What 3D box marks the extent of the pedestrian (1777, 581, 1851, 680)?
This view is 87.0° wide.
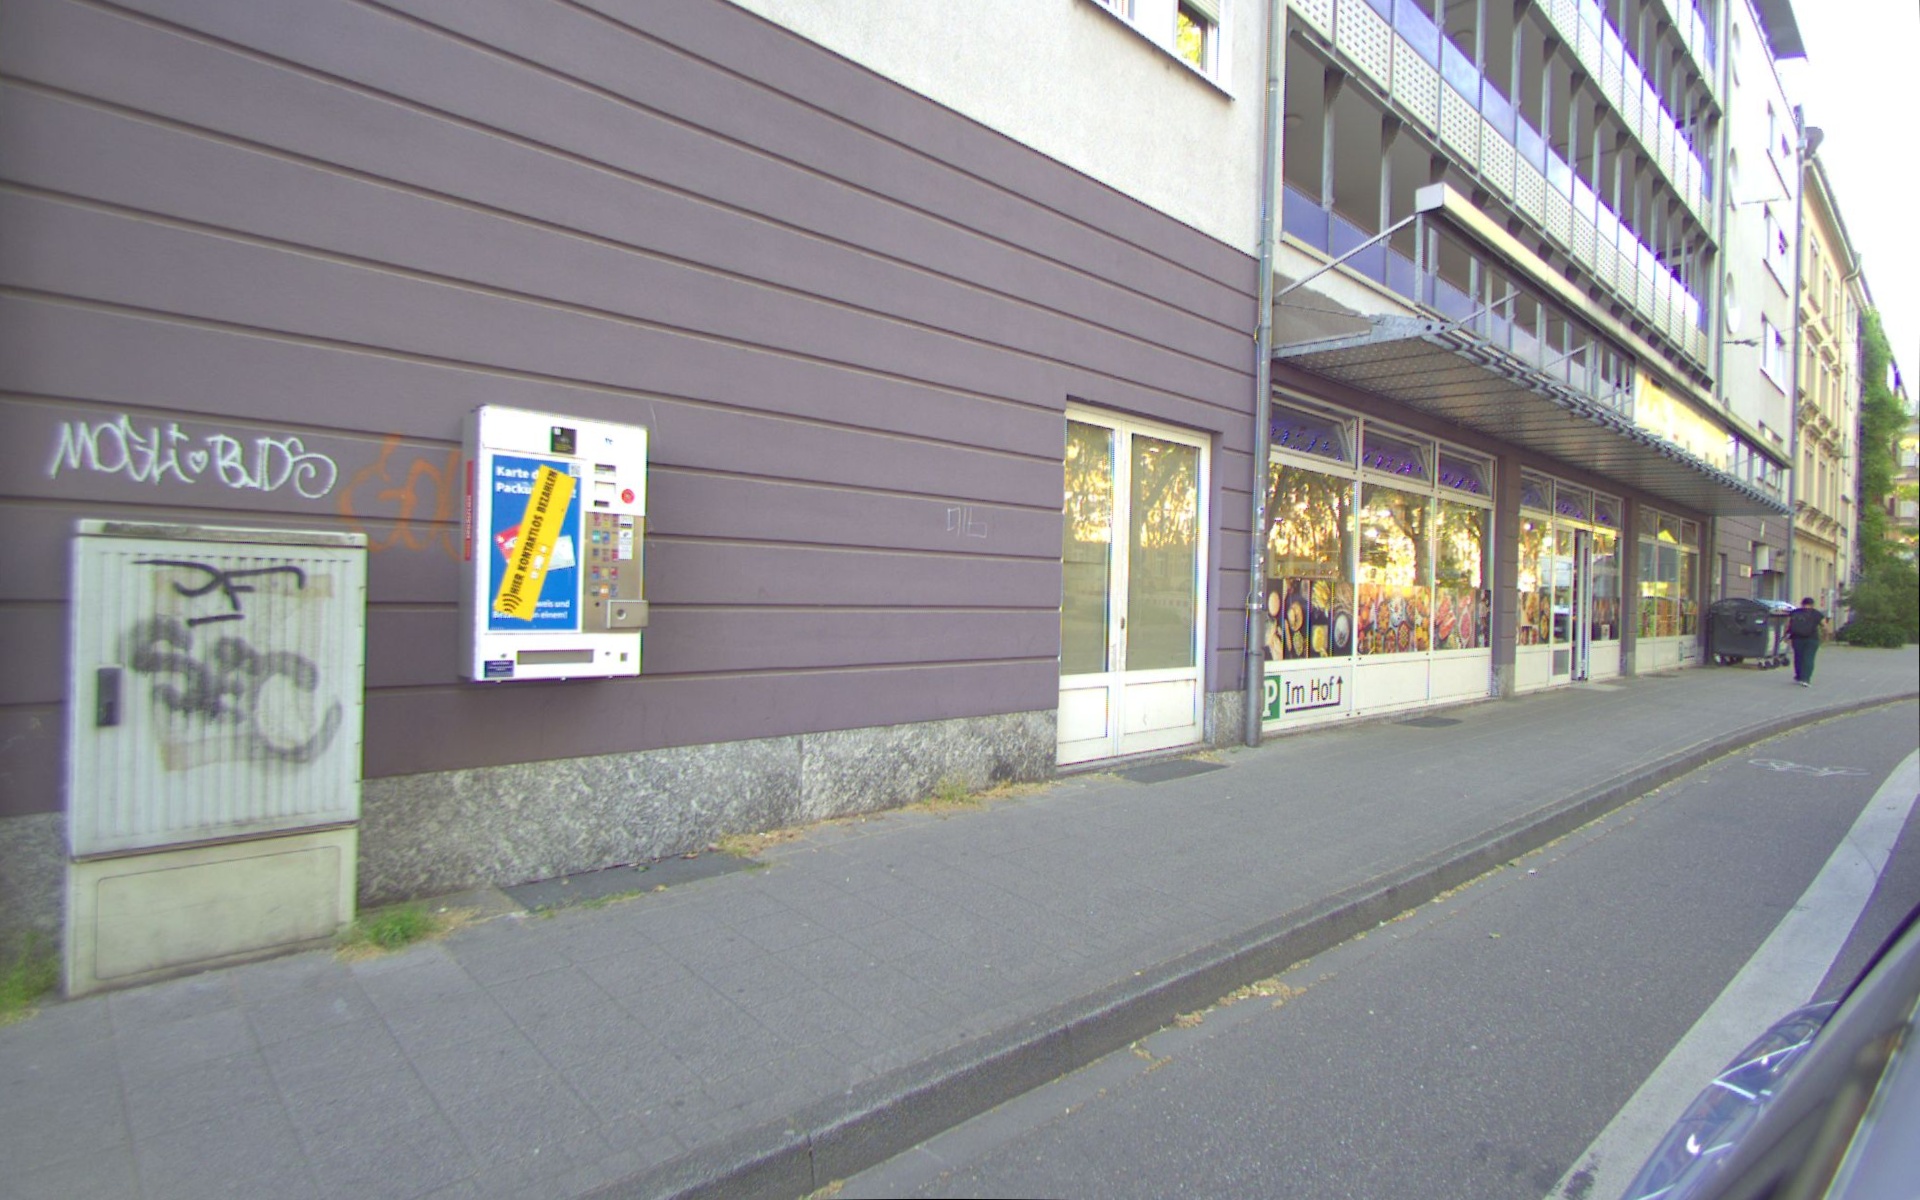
[{"bbox_3d":[14.641,0.501,17.352,0.862,1.611,0.613,4,2,44],"label":"pedestrian"}]

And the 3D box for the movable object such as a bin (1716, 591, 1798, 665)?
[{"bbox_3d":[16.341,0.546,20.755,0.923,1.444,1.158,1,1,-40],"label":"movable object such as a bin"}]

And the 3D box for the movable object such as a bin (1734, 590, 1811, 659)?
[{"bbox_3d":[17.781,0.517,22.153,0.923,1.444,1.158,1,1,-40],"label":"movable object such as a bin"}]
